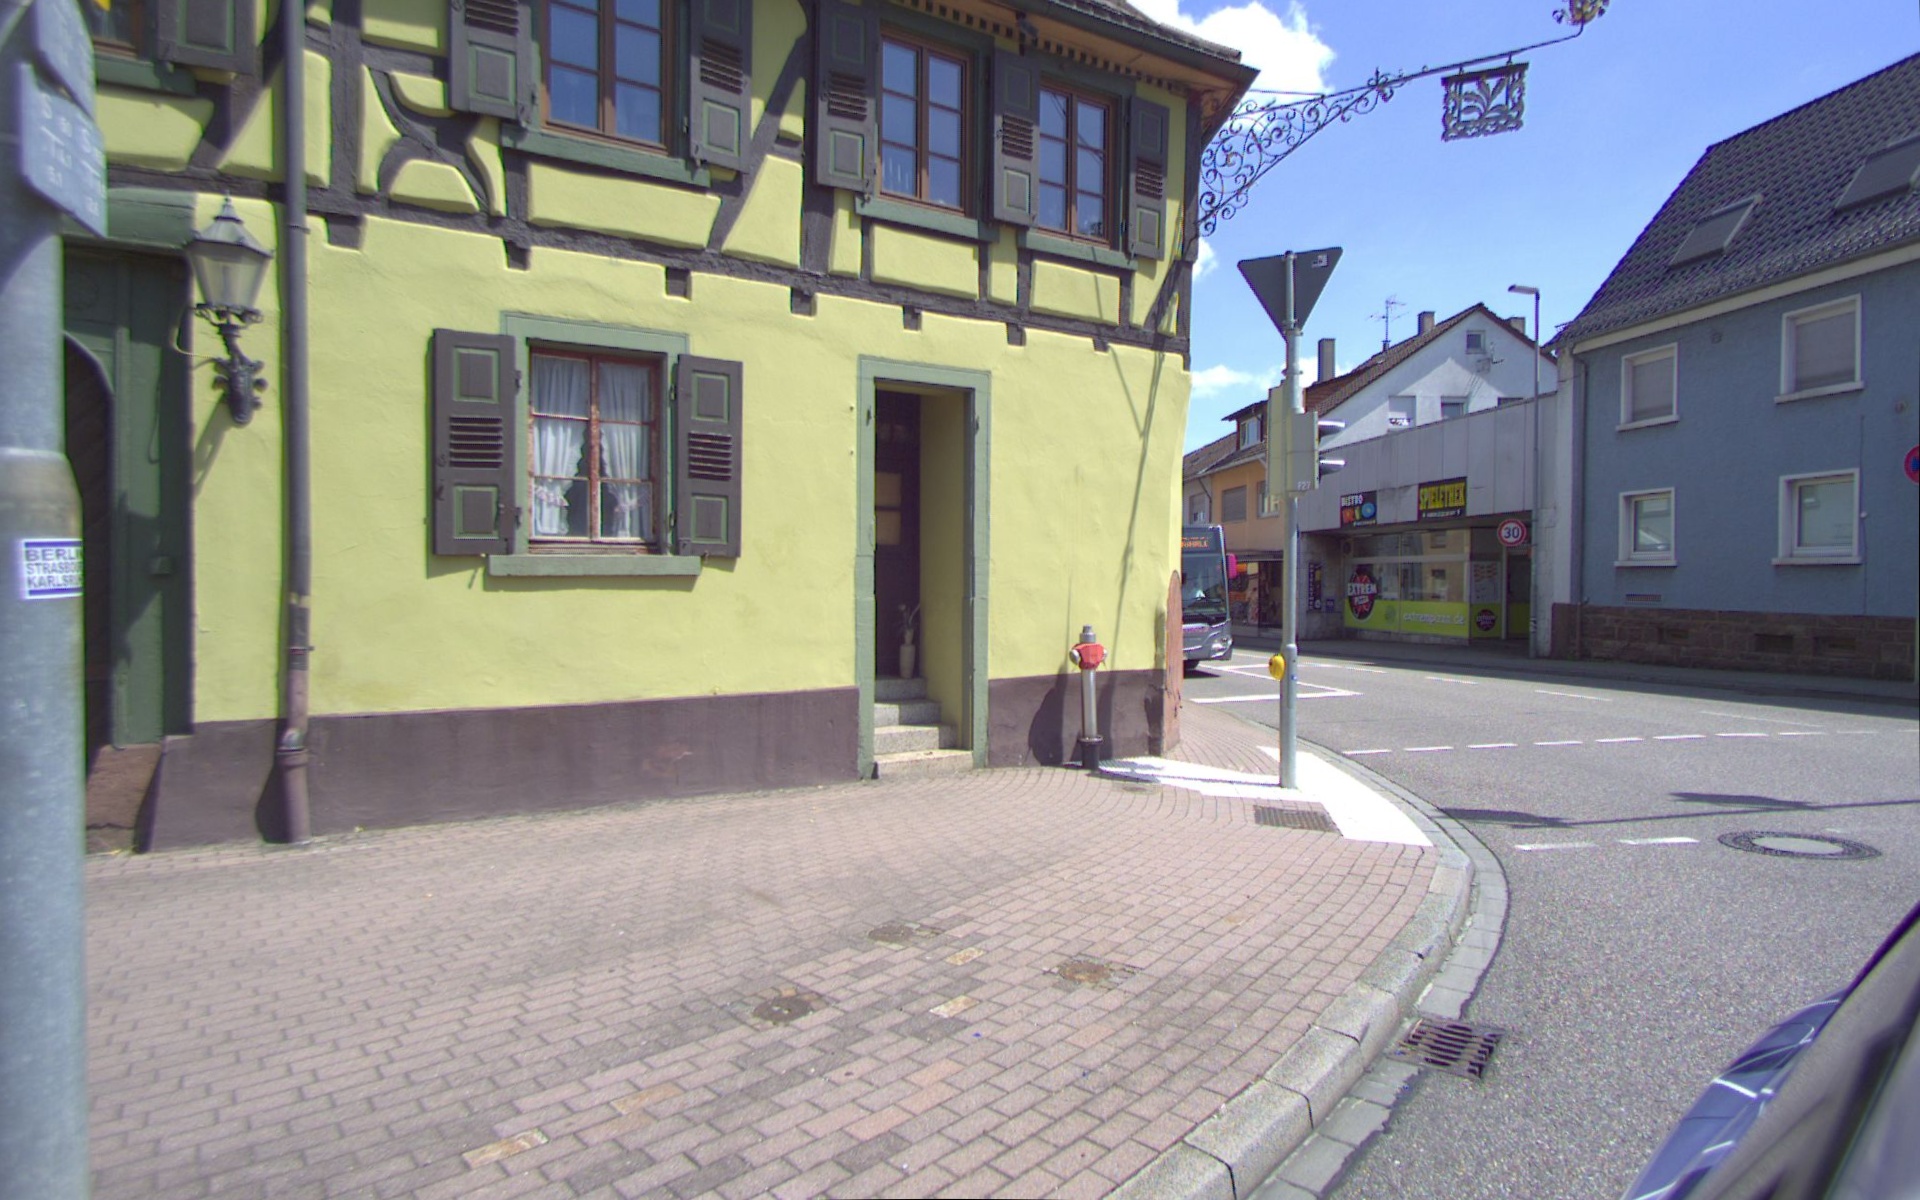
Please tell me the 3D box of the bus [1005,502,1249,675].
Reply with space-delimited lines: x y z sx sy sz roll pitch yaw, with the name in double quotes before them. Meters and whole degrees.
"bus" 3.583 -0.168 28.652 2.805 3.245 19.040 -1 0 -3
